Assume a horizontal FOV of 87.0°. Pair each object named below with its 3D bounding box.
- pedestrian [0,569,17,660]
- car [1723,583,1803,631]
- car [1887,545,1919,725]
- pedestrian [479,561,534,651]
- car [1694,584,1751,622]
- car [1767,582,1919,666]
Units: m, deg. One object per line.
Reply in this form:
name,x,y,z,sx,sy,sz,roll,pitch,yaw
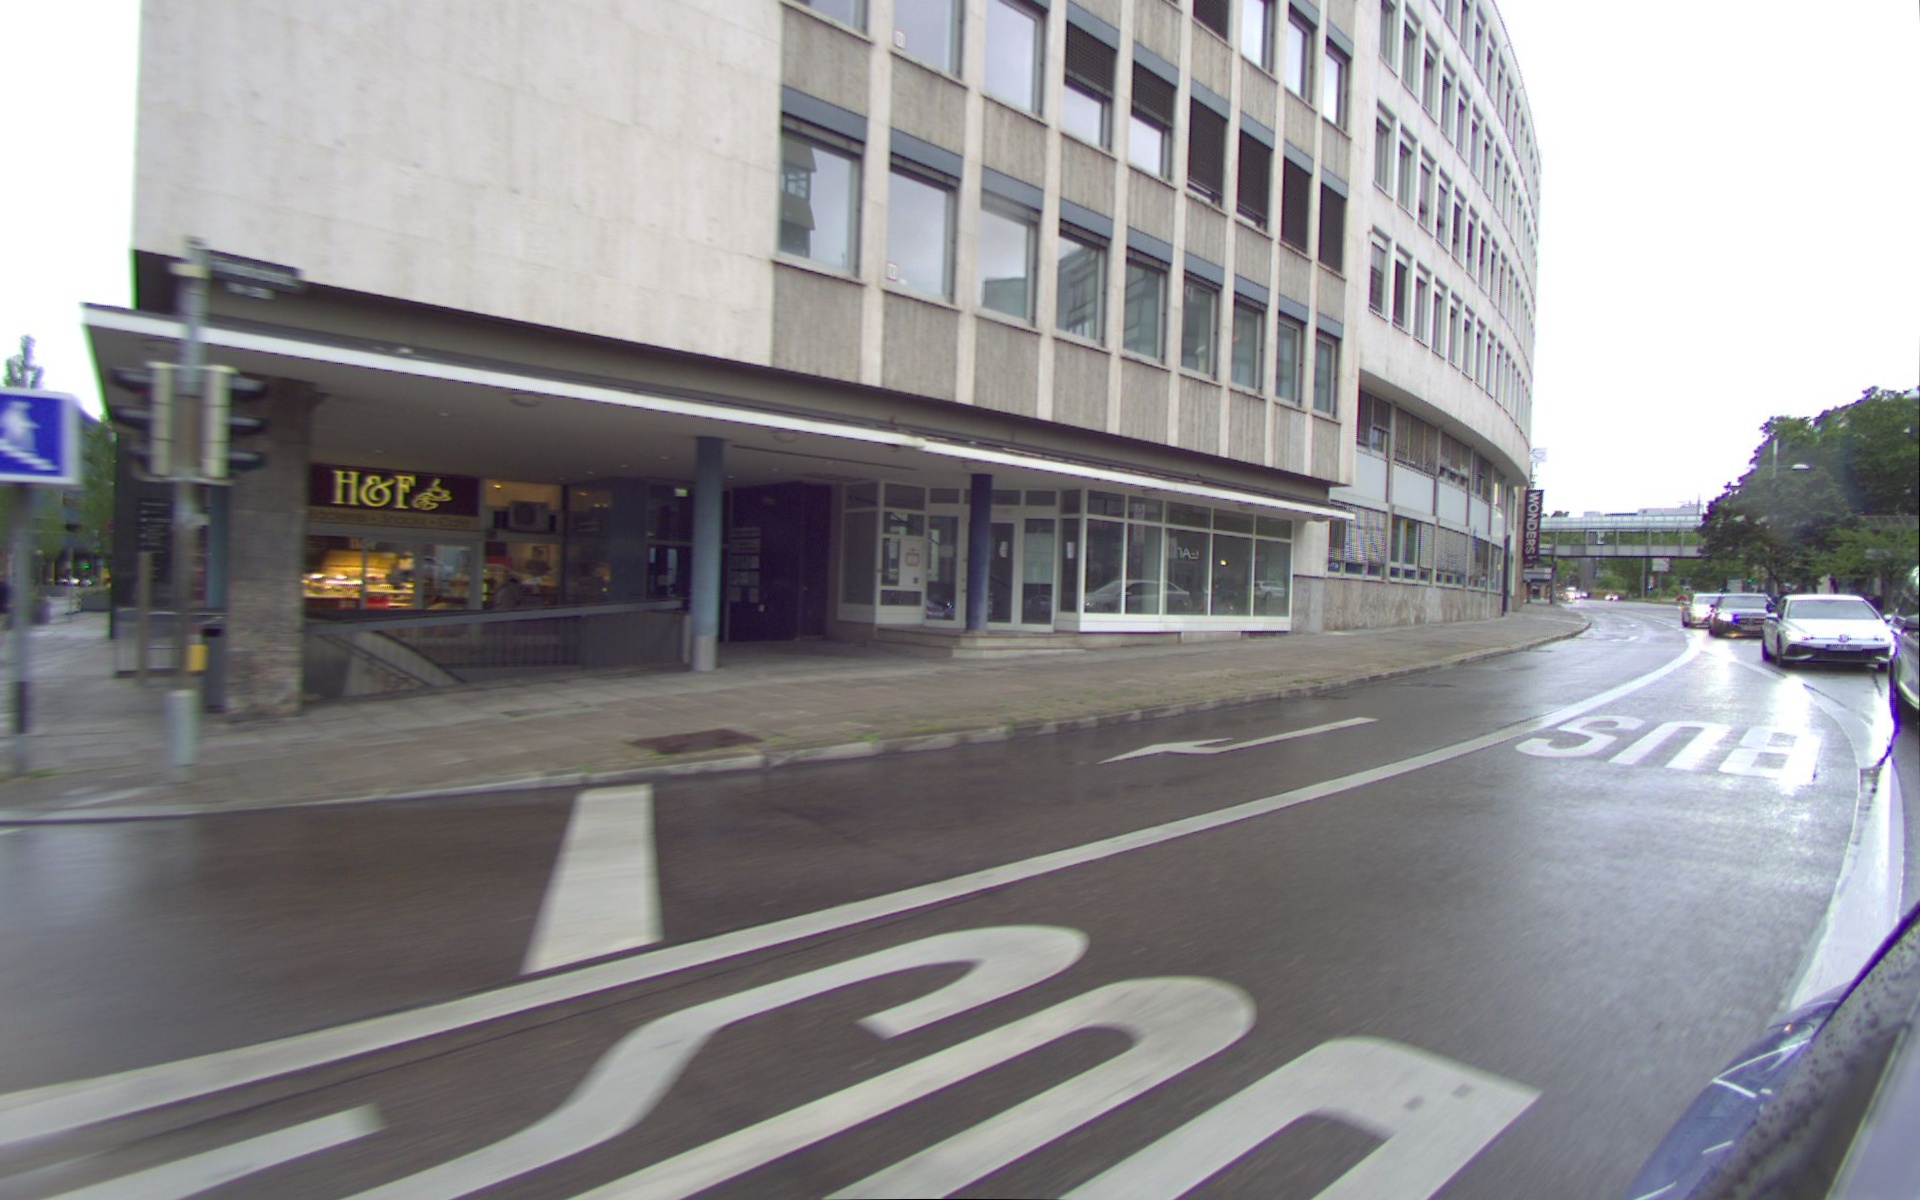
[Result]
pedestrian,-18.973,0.276,19.898,0.586,1.753,0.771,0,0,-40
car,27.054,0.198,34.219,1.988,1.483,4.346,0,1,37
car,10.688,0.367,9.872,1.906,1.878,4.960,0,0,37
pedestrian,-9.479,0.114,21.155,0.789,1.827,0.707,0,0,17
car,32.286,0.100,42.933,1.712,1.483,3.988,0,1,34
car,17.755,0.431,20.469,1.918,1.498,3.951,1,1,34
